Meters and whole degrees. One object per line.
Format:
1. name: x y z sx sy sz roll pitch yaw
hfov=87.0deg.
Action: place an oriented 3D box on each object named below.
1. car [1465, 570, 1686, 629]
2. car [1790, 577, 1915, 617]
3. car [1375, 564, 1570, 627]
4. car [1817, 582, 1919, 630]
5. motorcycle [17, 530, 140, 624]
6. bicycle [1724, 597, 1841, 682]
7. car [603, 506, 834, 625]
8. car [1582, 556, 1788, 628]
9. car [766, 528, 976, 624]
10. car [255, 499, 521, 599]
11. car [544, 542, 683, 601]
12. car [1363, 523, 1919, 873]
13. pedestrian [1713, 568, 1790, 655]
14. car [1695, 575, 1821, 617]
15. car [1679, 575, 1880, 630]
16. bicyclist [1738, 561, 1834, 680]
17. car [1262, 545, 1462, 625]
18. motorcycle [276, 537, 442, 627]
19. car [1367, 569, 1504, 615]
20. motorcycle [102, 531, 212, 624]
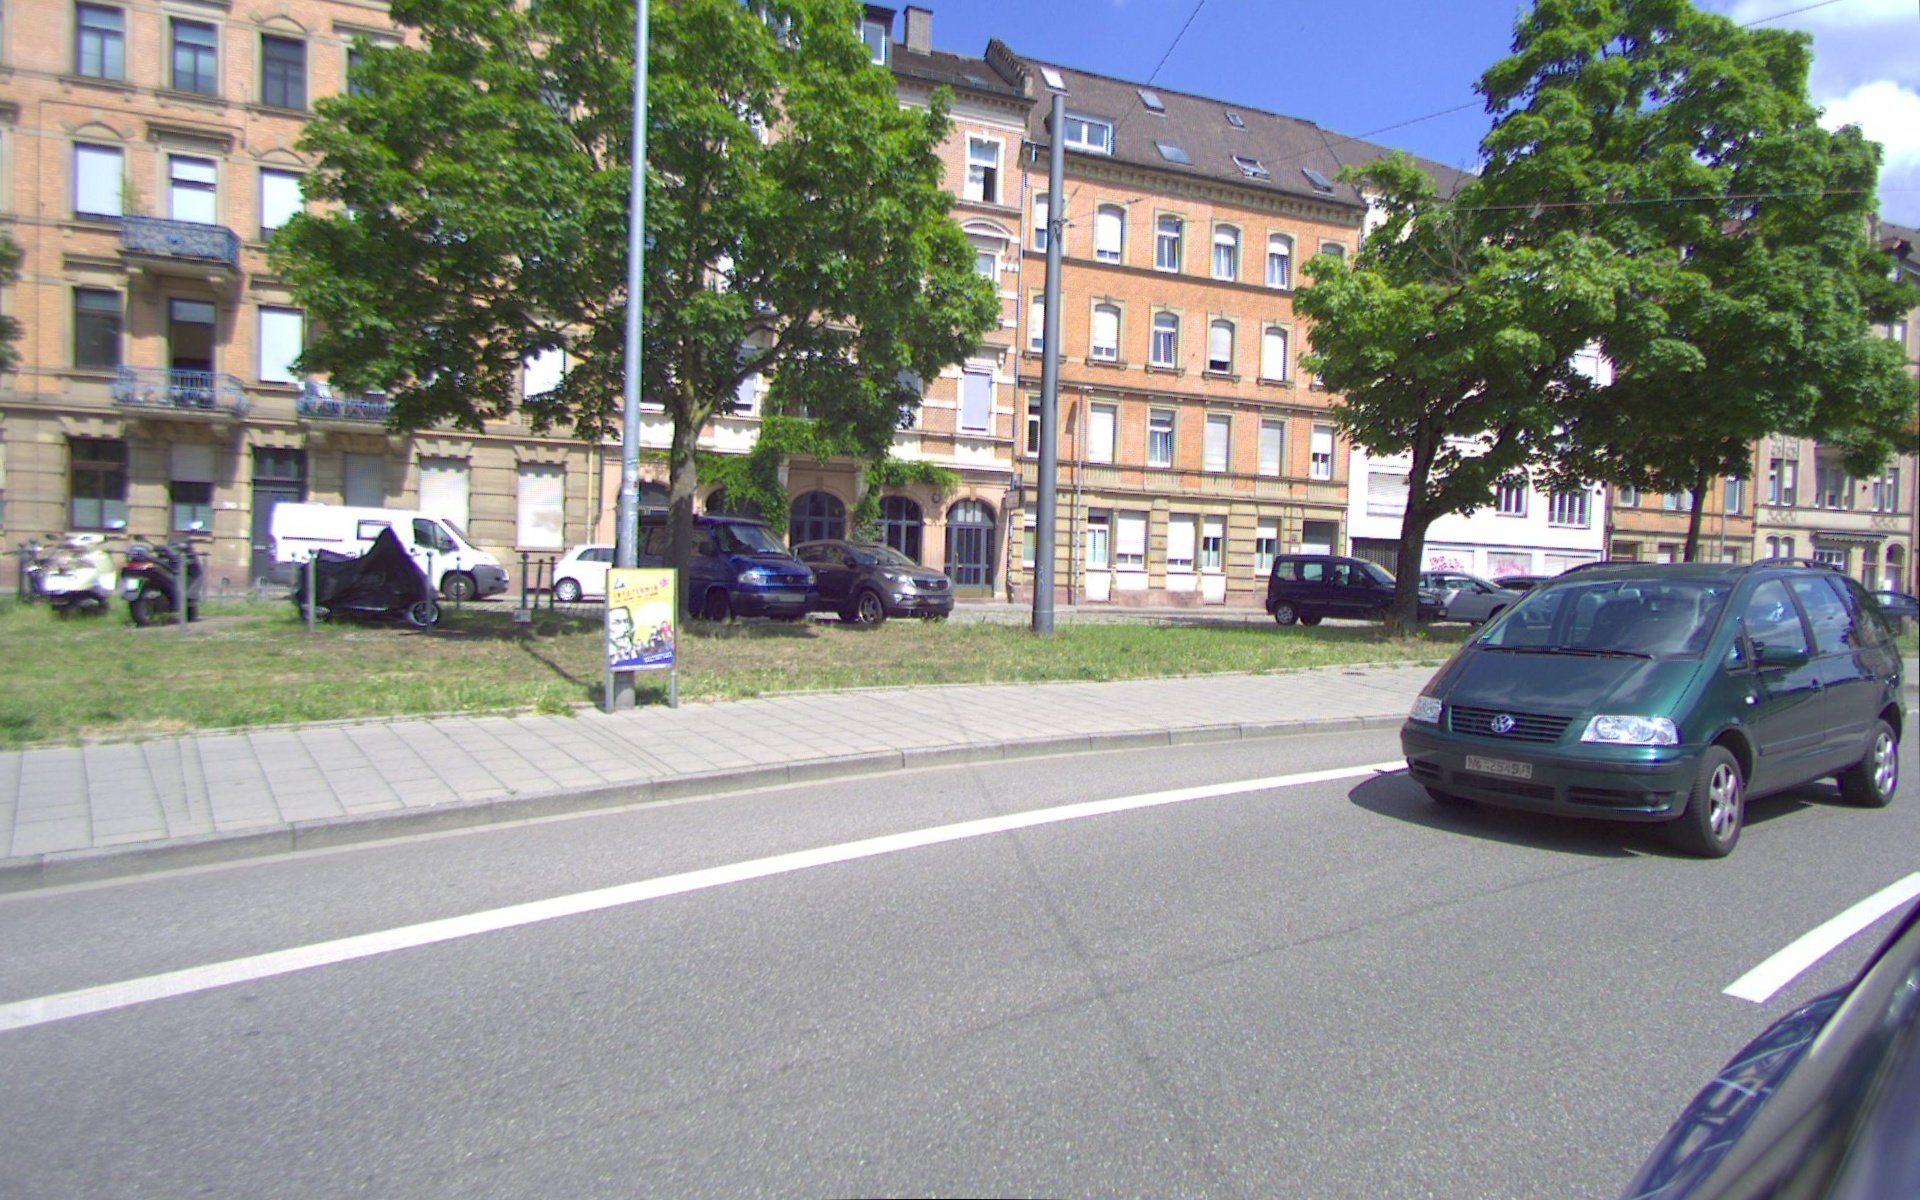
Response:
1. car: 15.713 -0.063 25.957 4.669 1.397 1.827 1 1 38
2. car: 37.679 -0.131 42.740 4.401 1.636 1.842 0 1 -15
3. car: 12.622 -0.149 25.009 4.062 1.423 1.828 1 1 37
4. car: 28.675 0.170 30.429 4.243 1.397 1.828 1 1 36
5. motorcycle: -11.760 -0.317 13.572 0.626 1.181 1.793 1 2 -20
6. bicycle: 13.517 0.620 16.628 1.801 1.256 0.698 0 7 -27
7. car: -4.572 -0.614 18.772 4.611 1.951 1.888 1 1 42
8. car: 19.215 -0.242 27.027 4.339 1.763 1.828 1 1 36
9. car: -1.831 -0.463 19.818 1.885 1.677 4.164 0 1 -44
10. car: -13.624 -1.171 24.515 5.280 2.206 2.122 0 1 -18
11. car: -8.876 -0.730 26.163 3.280 1.420 1.573 1 2 -16
12. car: 5.232 0.469 7.247 4.933 1.778 1.826 0 1 -33
13. pedestrian: 15.397 0.211 19.687 0.886 1.611 0.704 1 4 -19
14. car: 32.352 -0.168 41.035 4.401 1.636 1.842 0 1 -18
15. car: 22.776 0.029 28.377 4.243 1.397 1.828 1 1 36
16. bicyclist: 13.541 0.322 16.596 0.937 1.844 0.698 0 7 -27
17. car: 9.616 -0.373 24.388 4.133 1.763 1.825 1 1 42
18. motorcycle: -8.247 -0.249 13.938 1.868 1.181 0.641 1 1 -6
19. car: 16.430 -0.265 35.027 4.138 1.510 1.842 0 1 -18
20. motorcycle: -10.944 -0.314 13.854 0.626 1.181 1.793 1 2 -20
